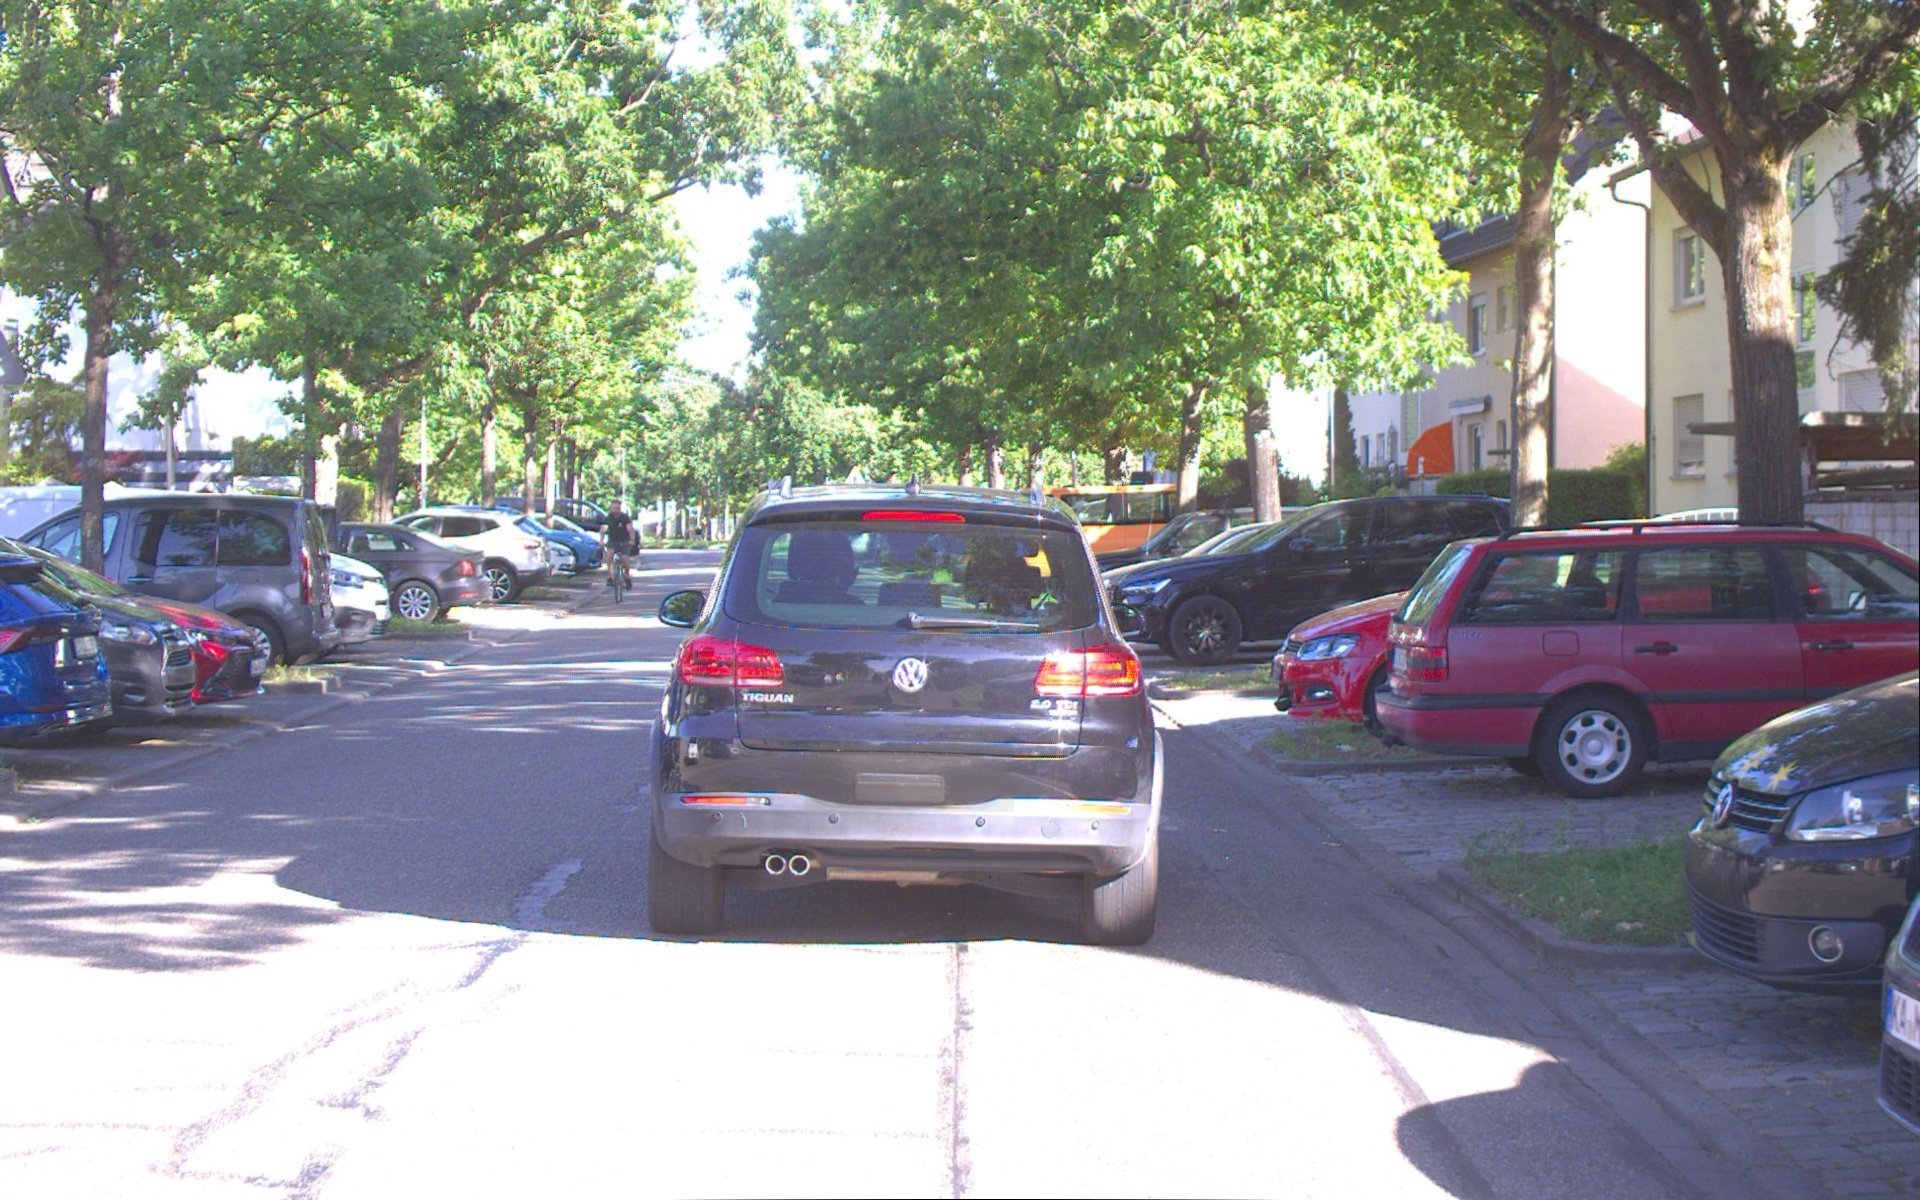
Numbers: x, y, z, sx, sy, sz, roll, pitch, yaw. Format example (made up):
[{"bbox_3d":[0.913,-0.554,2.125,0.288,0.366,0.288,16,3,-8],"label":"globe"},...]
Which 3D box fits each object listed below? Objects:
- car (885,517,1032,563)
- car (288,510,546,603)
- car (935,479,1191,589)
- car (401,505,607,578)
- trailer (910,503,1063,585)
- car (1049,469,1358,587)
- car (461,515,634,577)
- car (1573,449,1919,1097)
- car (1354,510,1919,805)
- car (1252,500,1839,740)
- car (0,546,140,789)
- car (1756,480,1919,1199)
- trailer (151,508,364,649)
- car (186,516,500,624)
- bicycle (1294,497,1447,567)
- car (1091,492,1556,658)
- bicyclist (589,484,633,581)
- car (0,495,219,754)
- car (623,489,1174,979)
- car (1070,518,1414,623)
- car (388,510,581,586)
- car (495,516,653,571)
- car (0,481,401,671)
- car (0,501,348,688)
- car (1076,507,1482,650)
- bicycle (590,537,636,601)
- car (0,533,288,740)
[{"bbox_3d":[-0.059,-1.837,105.154,4.345,1.358,1.874,-1,1,-4],"label":"car"},{"bbox_3d":[-9.361,-0.763,59.465,4.187,1.561,1.792,-1,1,-1],"label":"car"},{"bbox_3d":[1.981,-1.301,67.223,4.818,2.076,2.086,-1,1,-3],"label":"car"},{"bbox_3d":[-10.448,-1.354,79.005,4.523,1.625,1.938,-1,1,-3],"label":"car"},{"bbox_3d":[0.545,-1.180,71.463,2.945,1.658,1.615,-1,1,-9],"label":"trailer"},{"bbox_3d":[3.589,-1.085,51.206,4.337,1.555,1.868,-2,2,-3],"label":"car"},{"bbox_3d":[-10.266,-1.351,85.783,4.182,1.487,1.647,-1,1,-3],"label":"car"},{"bbox_3d":[4.199,0.391,10.519,4.211,1.775,1.789,-2,1,-3],"label":"car"},{"bbox_3d":[4.620,0.258,19.439,4.502,1.441,1.838,-3,1,-1],"label":"car"},{"bbox_3d":[4.058,0.123,24.246,3.777,1.479,1.756,-2,1,-1],"label":"car"},{"bbox_3d":[-7.468,0.383,21.482,4.271,1.419,1.724,0,2,1],"label":"car"},{"bbox_3d":[4.230,0.498,7.408,4.502,1.673,1.879,-2,2,-3],"label":"car"},{"bbox_3d":[-8.509,-0.279,41.768,2.236,1.668,1.474,0,1,2],"label":"trailer"},{"bbox_3d":[-8.745,-0.443,48.992,4.210,1.466,1.691,-1,1,-3],"label":"car"},{"bbox_3d":[7.915,-1.316,66.311,2.858,1.233,0.468,-2,1,-2],"label":"bicycle"},{"bbox_3d":[3.717,-0.277,35.706,4.573,1.641,1.838,-1,1,-2],"label":"car"},{"bbox_3d":[-6.181,-1.203,60.945,0.596,1.668,0.975,-4,2,-1],"label":"bicyclist"},{"bbox_3d":[-7.768,0.161,24.345,4.673,1.762,1.795,-1,1,-2],"label":"car"},{"bbox_3d":[-0.248,0.402,13.539,1.838,1.631,3.958,0,1,-1],"label":"car"},{"bbox_3d":[3.730,-0.408,45.948,4.427,1.327,1.691,0,1,-1],"label":"car"},{"bbox_3d":[-10.270,-1.131,74.442,3.986,1.590,1.858,-1,1,-3],"label":"car"},{"bbox_3d":[-10.733,-1.582,95.879,4.275,1.473,1.769,-1,1,-3],"label":"car"},{"bbox_3d":[-8.174,-0.276,36.587,4.235,1.937,2.000,-1,1,-5],"label":"car"},{"bbox_3d":[-8.287,-0.075,33.931,4.238,1.764,1.968,-1,1,-5],"label":"car"},{"bbox_3d":[3.537,-0.259,38.659,4.319,1.524,1.841,-1,1,-3],"label":"car"},{"bbox_3d":[-6.140,-0.559,60.956,0.596,1.055,1.986,-4,2,-1],"label":"bicycle"},{"bbox_3d":[-7.615,0.282,26.730,4.476,1.494,1.837,-1,2,-4],"label":"car"}]
